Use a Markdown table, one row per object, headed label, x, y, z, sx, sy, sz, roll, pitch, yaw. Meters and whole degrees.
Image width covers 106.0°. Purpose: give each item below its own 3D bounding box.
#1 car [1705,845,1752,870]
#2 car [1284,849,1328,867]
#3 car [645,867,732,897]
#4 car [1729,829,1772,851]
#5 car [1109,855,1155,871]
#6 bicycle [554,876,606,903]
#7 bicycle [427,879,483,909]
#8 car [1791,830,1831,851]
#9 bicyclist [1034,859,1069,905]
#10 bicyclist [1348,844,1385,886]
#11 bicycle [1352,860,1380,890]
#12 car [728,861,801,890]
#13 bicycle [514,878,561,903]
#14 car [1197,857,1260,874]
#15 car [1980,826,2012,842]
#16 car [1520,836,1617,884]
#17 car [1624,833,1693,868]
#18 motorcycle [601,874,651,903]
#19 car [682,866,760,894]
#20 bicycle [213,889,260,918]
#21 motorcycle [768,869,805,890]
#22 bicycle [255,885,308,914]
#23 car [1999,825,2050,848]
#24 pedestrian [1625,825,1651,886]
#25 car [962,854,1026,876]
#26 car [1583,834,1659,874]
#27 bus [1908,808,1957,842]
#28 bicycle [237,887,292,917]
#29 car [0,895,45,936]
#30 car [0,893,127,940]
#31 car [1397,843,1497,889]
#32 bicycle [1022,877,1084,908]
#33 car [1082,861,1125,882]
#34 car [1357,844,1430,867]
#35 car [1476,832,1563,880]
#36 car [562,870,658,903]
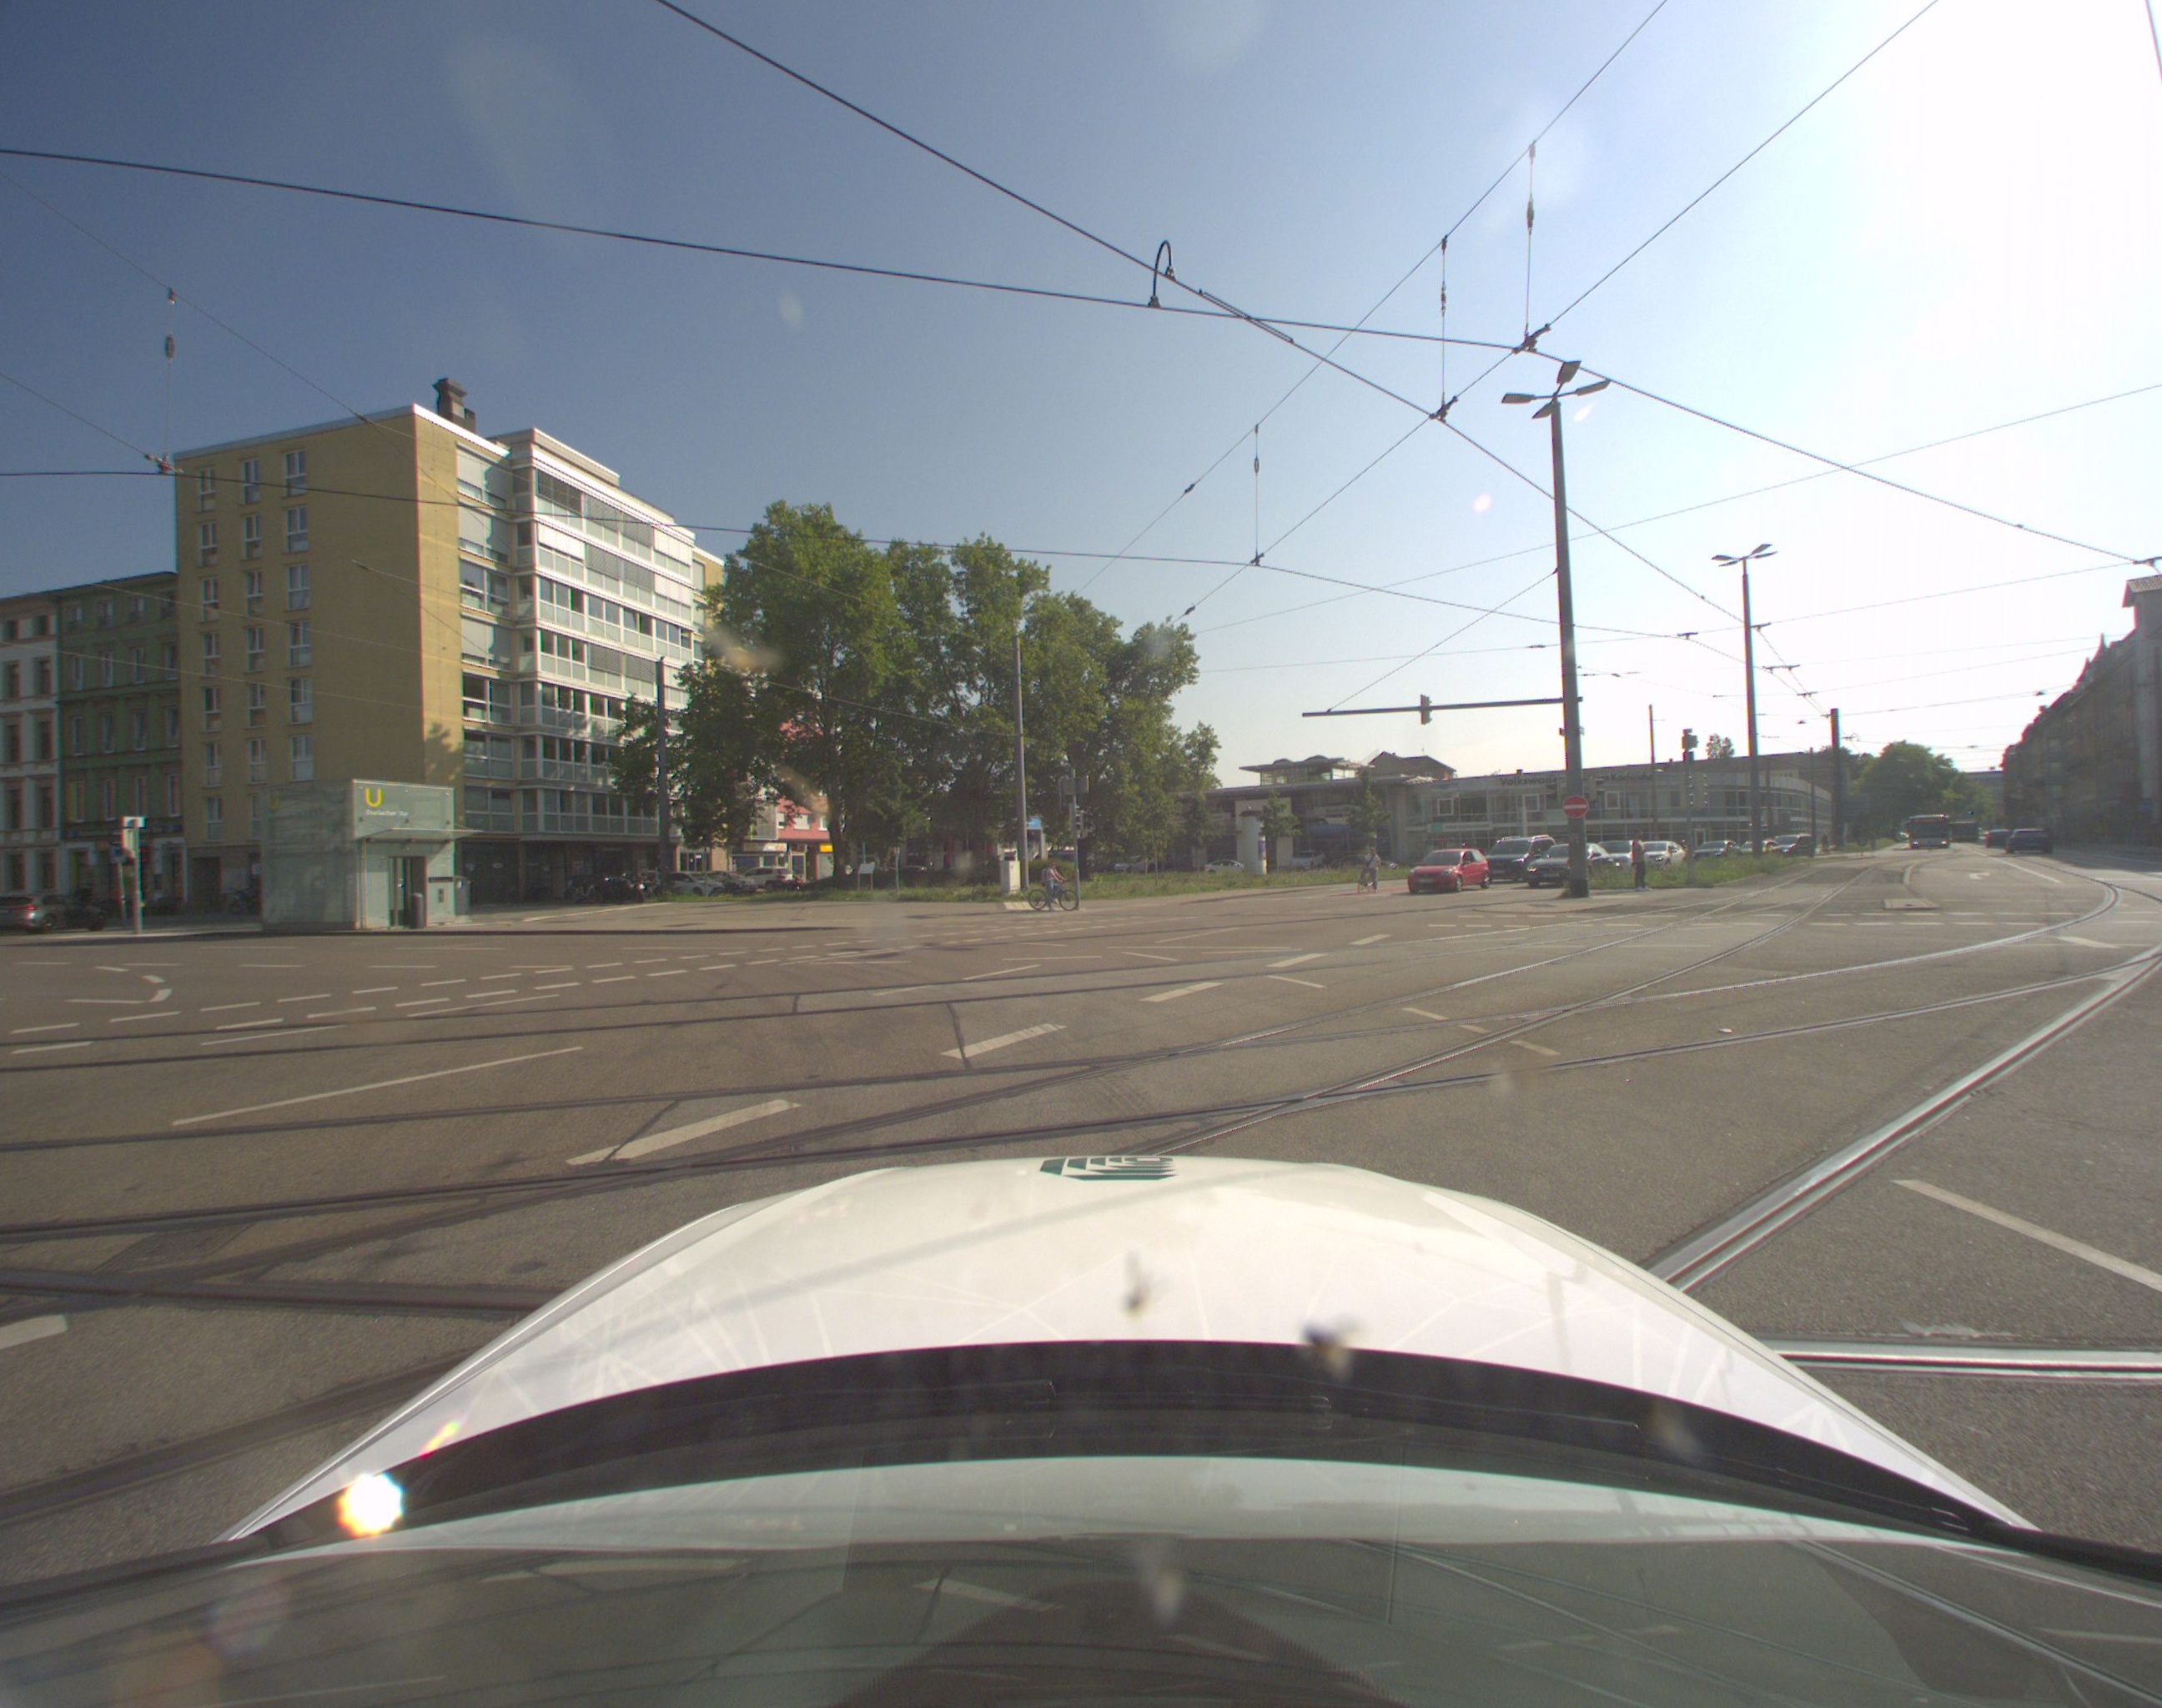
| label | x | y | z | sx | sy | sz | roll | pitch | yaw |
| --- | --- | --- | --- | --- | --- | --- | --- | --- | --- |
| car | 41.402 | 0.206 | 52.054 | 4.023 | 1.415 | 1.781 | -2 | 0 | -44 |
| car | 19.482 | 0.335 | 70.324 | 1.974 | 1.462 | 4.351 | -2 | 0 | 40 |
| car | -21.930 | 1.565 | 45.557 | 3.957 | 1.507 | 2.009 | -2 | 0 | 16 |
| car | 46.035 | -0.975 | 55.961 | 4.023 | 1.415 | 1.781 | -2 | 0 | -44 |
| car | 5.015 | 0.893 | 80.300 | 4.075 | 1.462 | 1.980 | -2 | 0 | -32 |
| bicycle | -24.062 | 1.704 | 39.115 | 2.279 | 1.235 | 0.526 | -2 | 0 | 10 |
| bicycle | -28.884 | 1.829 | 37.630 | 0.663 | 1.206 | 2.032 | -2 | 0 | 15 |
| car | 52.201 | -0.983 | 58.218 | 4.023 | 1.415 | 1.781 | -2 | 0 | -44 |
| bicyclist | -0.935 | 0.884 | 26.080 | 0.809 | 1.427 | 0.735 | -2 | 0 | 33 |
| bicyclist | 10.538 | 0.397 | 30.014 | 1.074 | 1.475 | 0.978 | -2 | 0 | 30 |
| bicycle | 10.501 | 0.770 | 29.943 | 0.522 | 0.989 | 2.211 | -3 | 0 | 30 |
| car | -20.567 | 1.386 | 52.956 | 3.957 | 1.644 | 2.009 | -2 | 0 | 16 |
| bicycle | -28.184 | 1.877 | 42.279 | 0.663 | 1.183 | 2.032 | -2 | 0 | 15 |
| car | 11.466 | 0.883 | 63.295 | 4.341 | 1.165 | 2.013 | -2 | 0 | 31 |
| car | 81.818 | -1.809 | 72.827 | 3.802 | 1.349 | 1.719 | -2 | 0 | -44 |
| car | 16.997 | 0.185 | 28.317 | 4.376 | 1.451 | 1.781 | -2 | 0 | -44 |
| car | 26.047 | -0.170 | 36.687 | 4.023 | 1.415 | 1.781 | -2 | 0 | -44 |
| motorcycle | -18.609 | 1.417 | 33.316 | 2.271 | 1.147 | 0.710 | -2 | 0 | 31 |
| car | -22.118 | 1.612 | 50.109 | 3.957 | 1.507 | 2.009 | -2 | 0 | 16 |
| bicycle | -39.832 | 2.333 | 38.419 | 1.976 | 1.261 | 0.607 | -2 | 0 | 14 |
| motorcycle | -15.379 | 1.336 | 42.563 | 1.931 | 1.001 | 0.710 | -2 | 0 | 31 |
| bicycle | -37.152 | 2.102 | 37.854 | 1.980 | 1.261 | 0.605 | -2 | 0 | 6 |
| car | 60.442 | -1.130 | 52.222 | 1.719 | 1.349 | 3.804 | -2 | 0 | 43 |
| pedestrian | 16.081 | 0.031 | 23.513 | 0.519 | 1.730 | 0.602 | -2 | -1 | 41 |
| car | -6.057 | 0.763 | 57.088 | 3.958 | 1.376 | 2.008 | -2 | 0 | 14 |
| car | 21.799 | -0.021 | 32.817 | 3.577 | 1.435 | 1.781 | -2 | 0 | -44 |
| bus | 80.740 | -2.767 | 77.126 | 11.561 | 2.984 | 2.863 | -2 | 0 | -42 |
| bicycle | -37.098 | 2.179 | 36.998 | 1.980 | 1.261 | 0.605 | -2 | 0 | 6 |
| car | -40.799 | 2.323 | 30.169 | 1.626 | 1.464 | 3.497 | -2 | -1 | -27 |
| car | -36.587 | 2.179 | 28.850 | 1.850 | 1.423 | 4.374 | -2 | -1 | -24 |
| car | 12.866 | 0.401 | 28.508 | 4.023 | 1.415 | 1.781 | -2 | 0 | -44 |
| bicycle | -0.916 | 1.225 | 26.080 | 2.049 | 0.894 | 0.571 | 1 | 1 | 34 |
| car | 2.293 | 1.809 | 83.905 | 3.949 | 2.013 | 1.958 | -2 | 0 | 41 |
| car | 21.746 | 0.113 | 56.767 | 4.341 | 1.370 | 2.013 | -2 | 0 | 38 |
| car | 18.285 | 0.046 | 33.832 | 4.801 | 1.827 | 1.781 | -2 | 0 | -44 |
| car | -23.456 | 1.613 | 40.586 | 4.149 | 1.441 | 1.669 | -2 | 0 | 16 |
